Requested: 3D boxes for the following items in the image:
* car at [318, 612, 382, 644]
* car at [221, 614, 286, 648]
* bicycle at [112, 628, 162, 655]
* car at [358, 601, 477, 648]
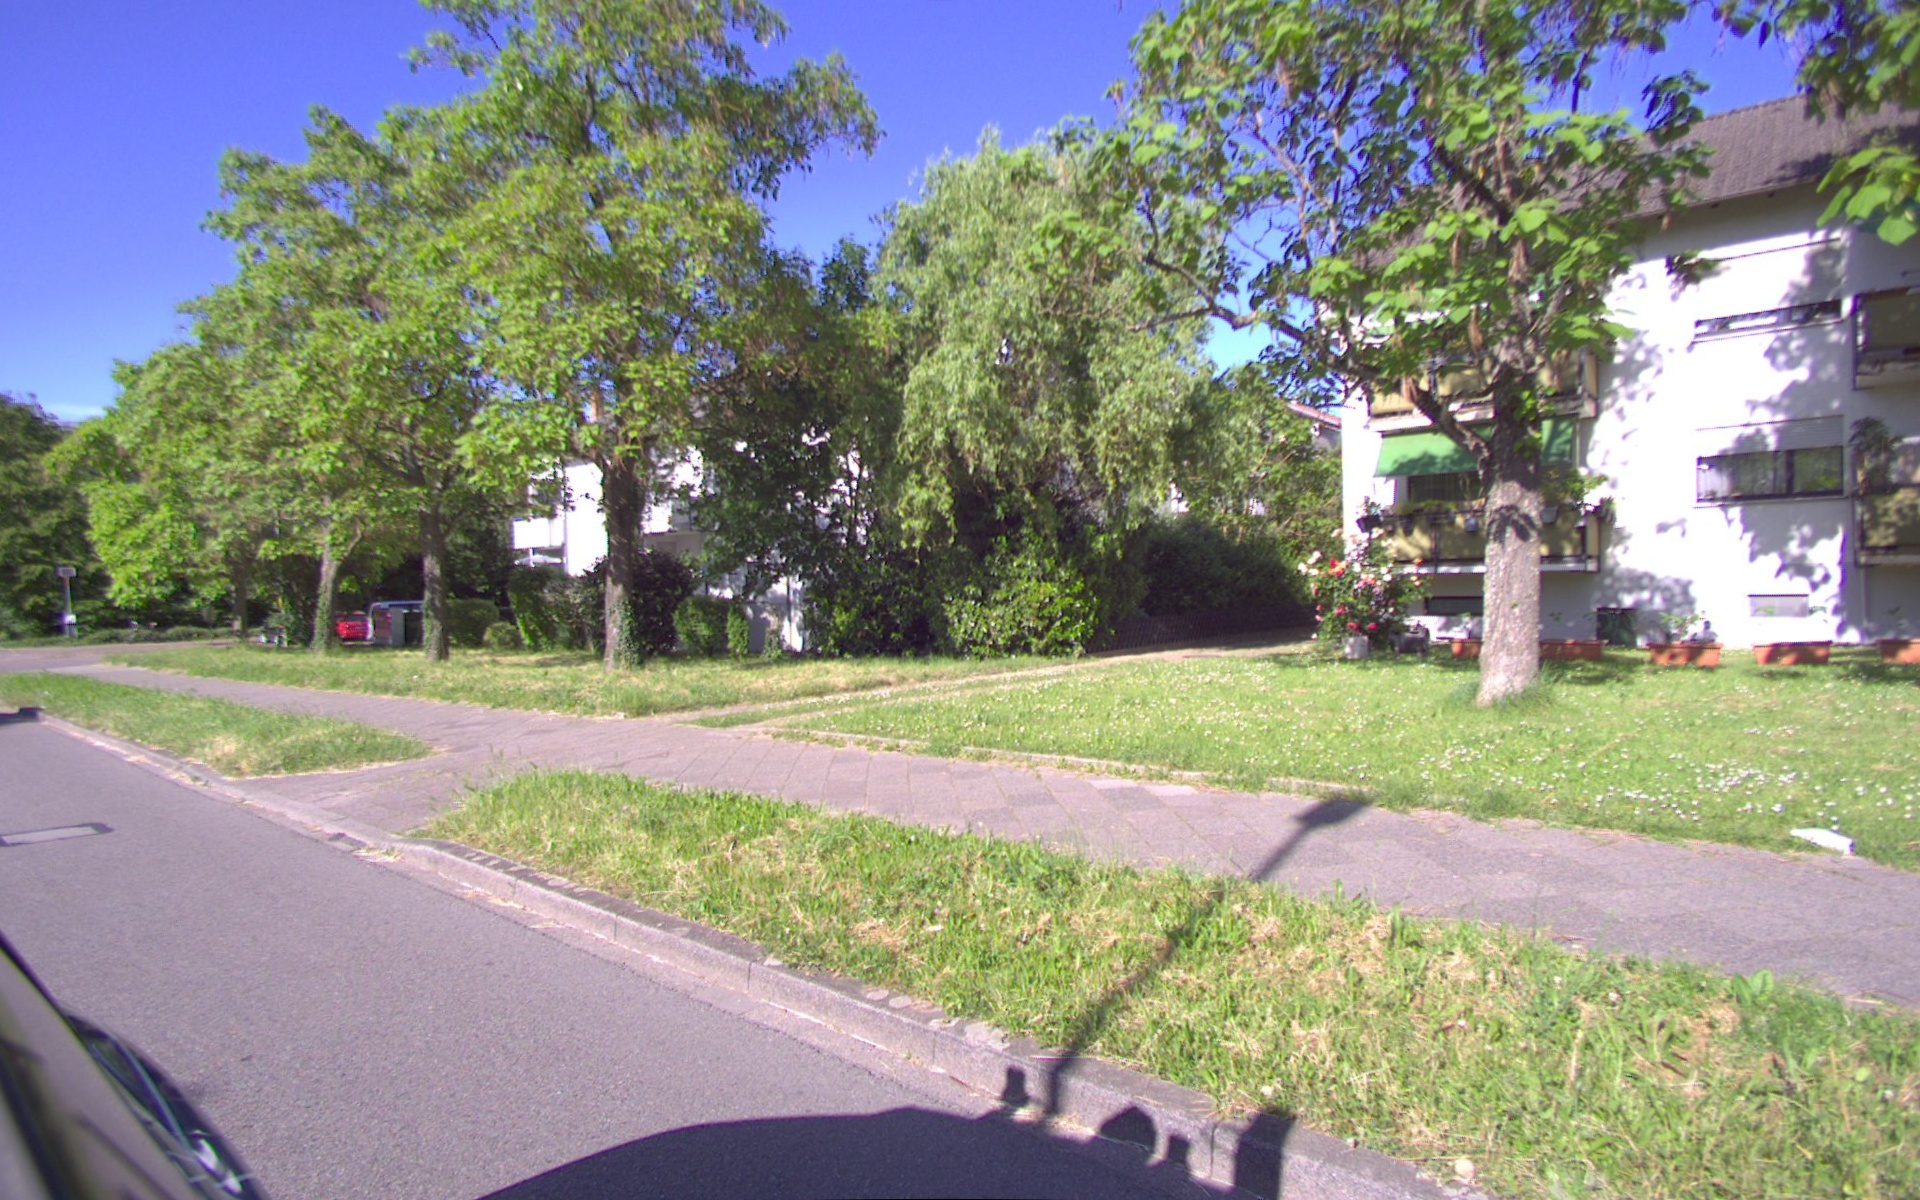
[{"bbox_3d":[-31.634,1.412,52.452,3.883,1.498,1.653,1,1,40],"label":"car"},{"bbox_3d":[-34.561,1.475,49.457,3.883,1.498,1.653,1,1,40],"label":"car"},{"bbox_3d":[-40.452,2.039,49.781,1.875,1.160,0.762,-2,4,-39],"label":"bicycle"},{"bbox_3d":[-25.010,1.094,46.752,2.069,1.984,4.402,-3,-1,43],"label":"car"}]
